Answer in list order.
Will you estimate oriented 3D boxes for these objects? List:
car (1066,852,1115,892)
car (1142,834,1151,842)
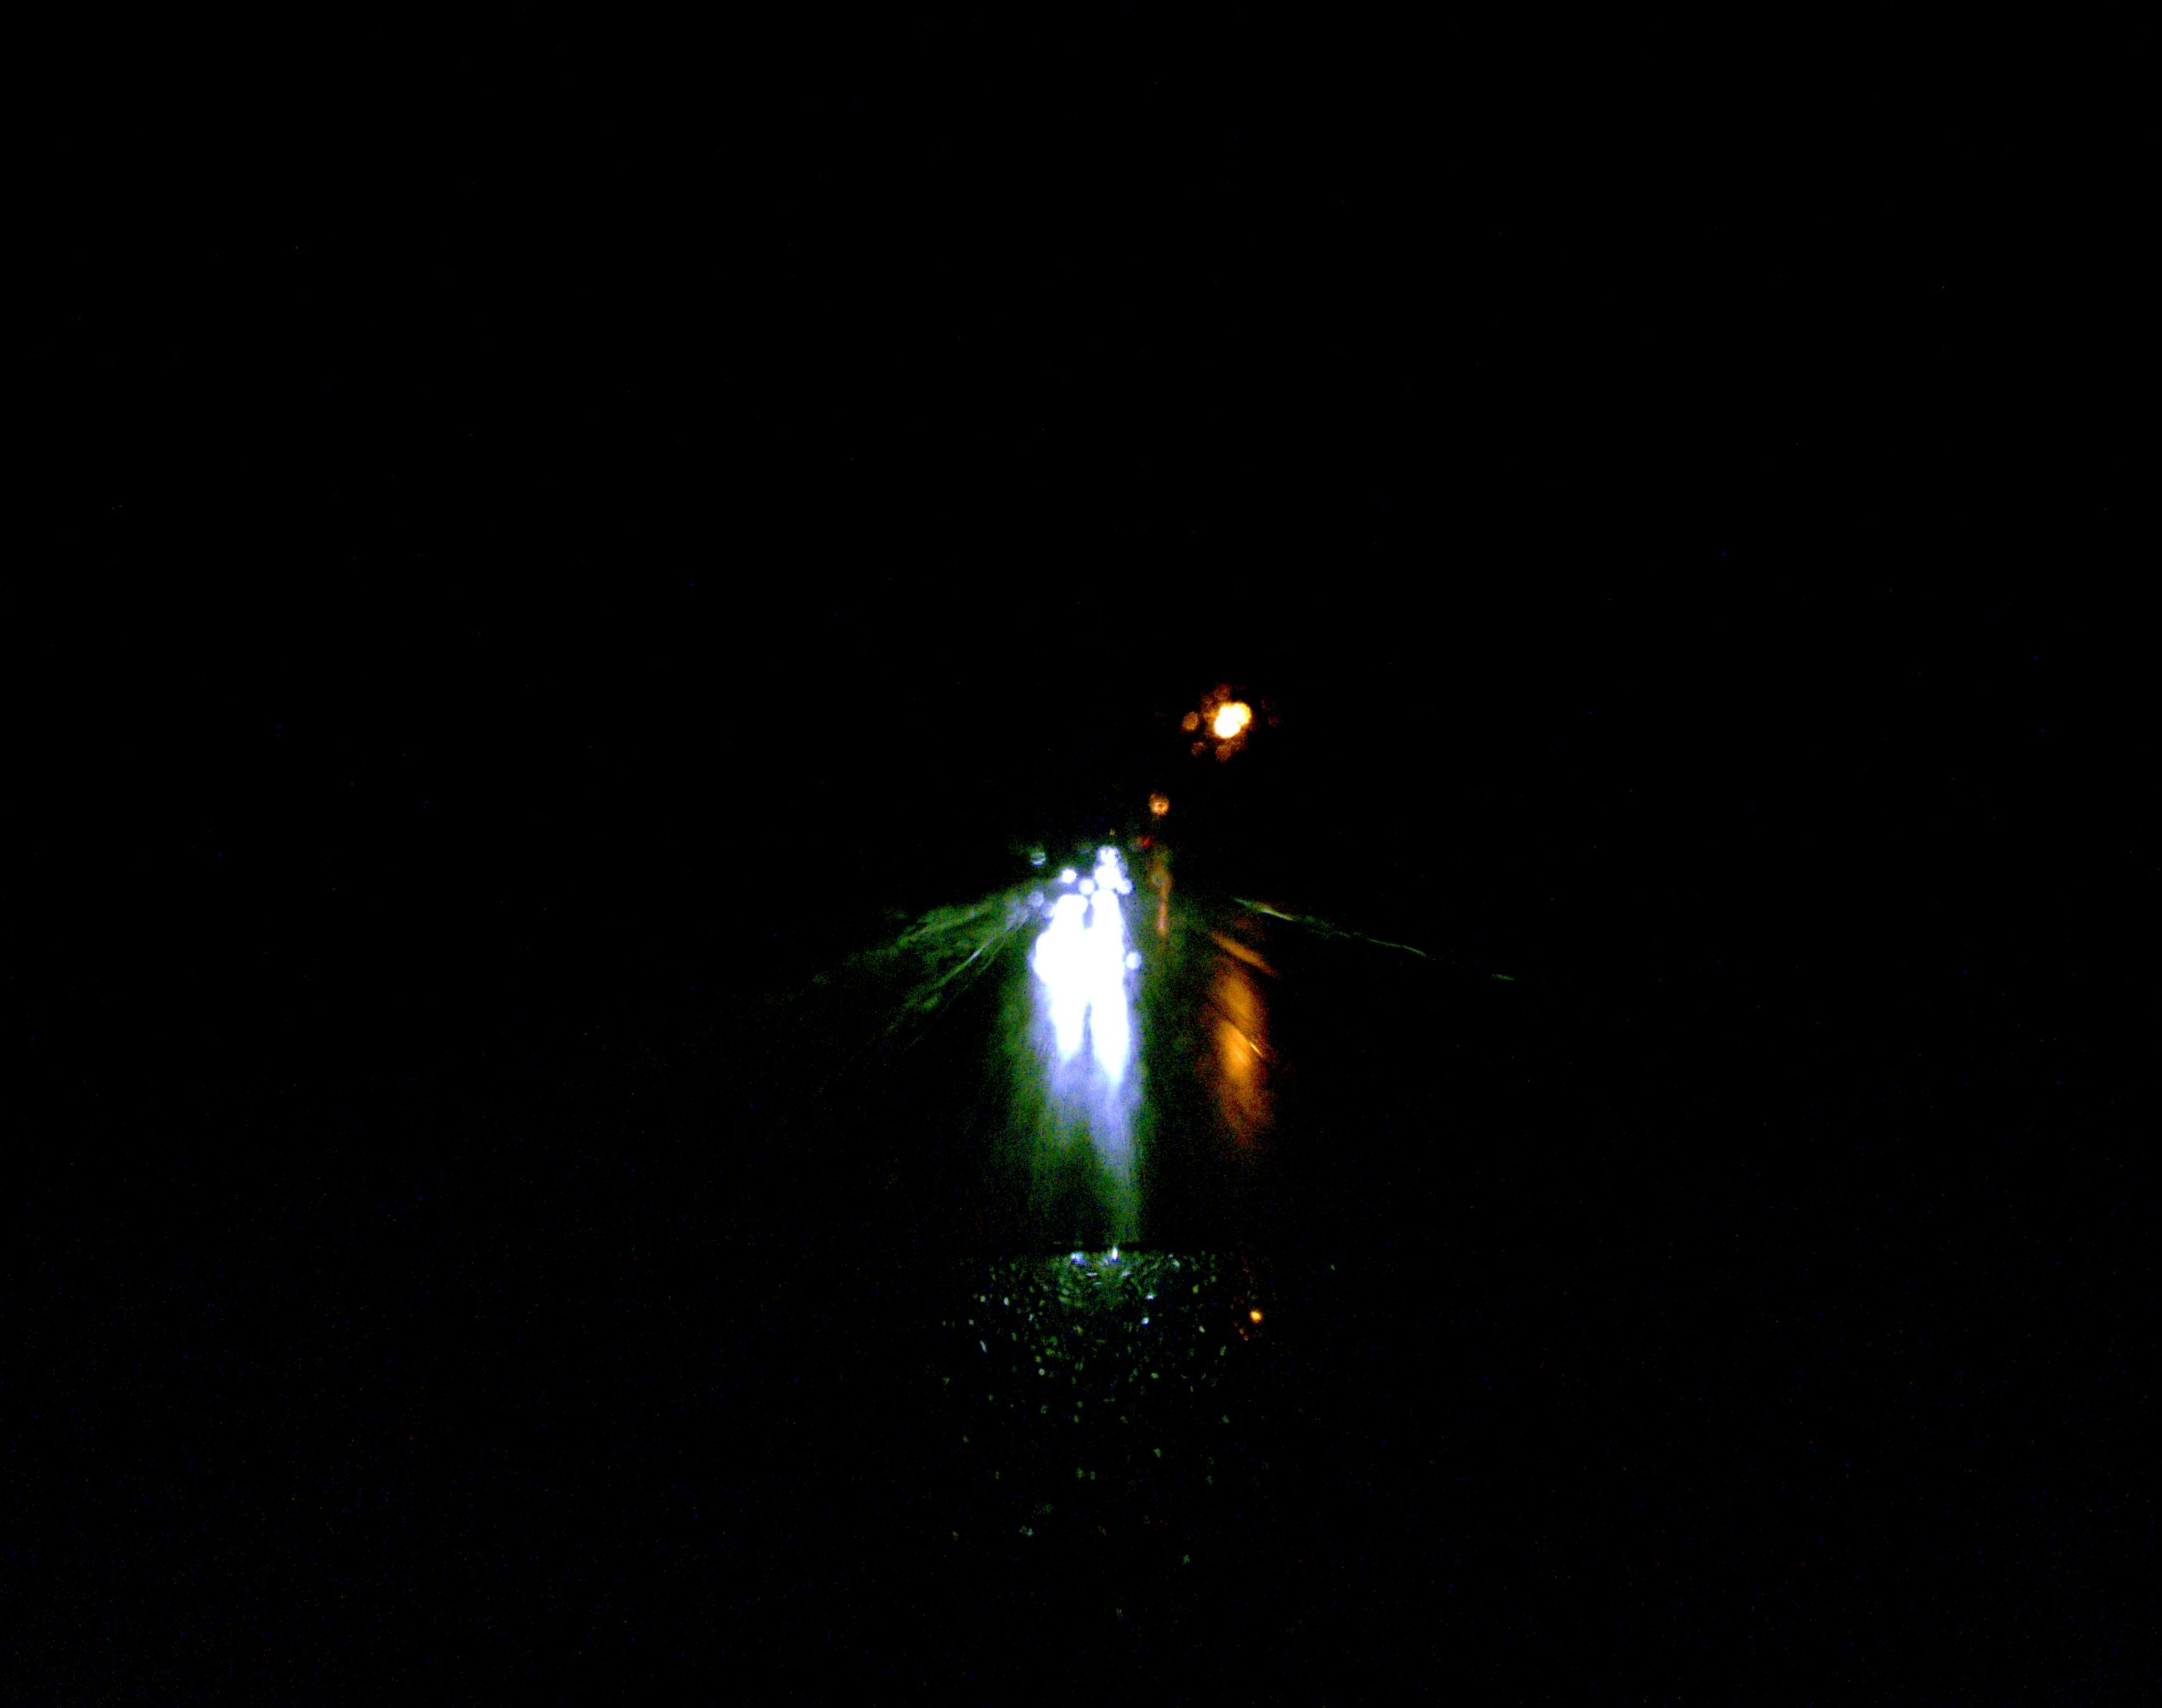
[{"bbox_3d":[0.442,0.767,33.683,1.944,1.580,4.776,-3,-1,2],"label":"car"},{"bbox_3d":[14.074,-3.448,163.681,1.919,1.467,4.203,-2,2,5],"label":"car"}]
